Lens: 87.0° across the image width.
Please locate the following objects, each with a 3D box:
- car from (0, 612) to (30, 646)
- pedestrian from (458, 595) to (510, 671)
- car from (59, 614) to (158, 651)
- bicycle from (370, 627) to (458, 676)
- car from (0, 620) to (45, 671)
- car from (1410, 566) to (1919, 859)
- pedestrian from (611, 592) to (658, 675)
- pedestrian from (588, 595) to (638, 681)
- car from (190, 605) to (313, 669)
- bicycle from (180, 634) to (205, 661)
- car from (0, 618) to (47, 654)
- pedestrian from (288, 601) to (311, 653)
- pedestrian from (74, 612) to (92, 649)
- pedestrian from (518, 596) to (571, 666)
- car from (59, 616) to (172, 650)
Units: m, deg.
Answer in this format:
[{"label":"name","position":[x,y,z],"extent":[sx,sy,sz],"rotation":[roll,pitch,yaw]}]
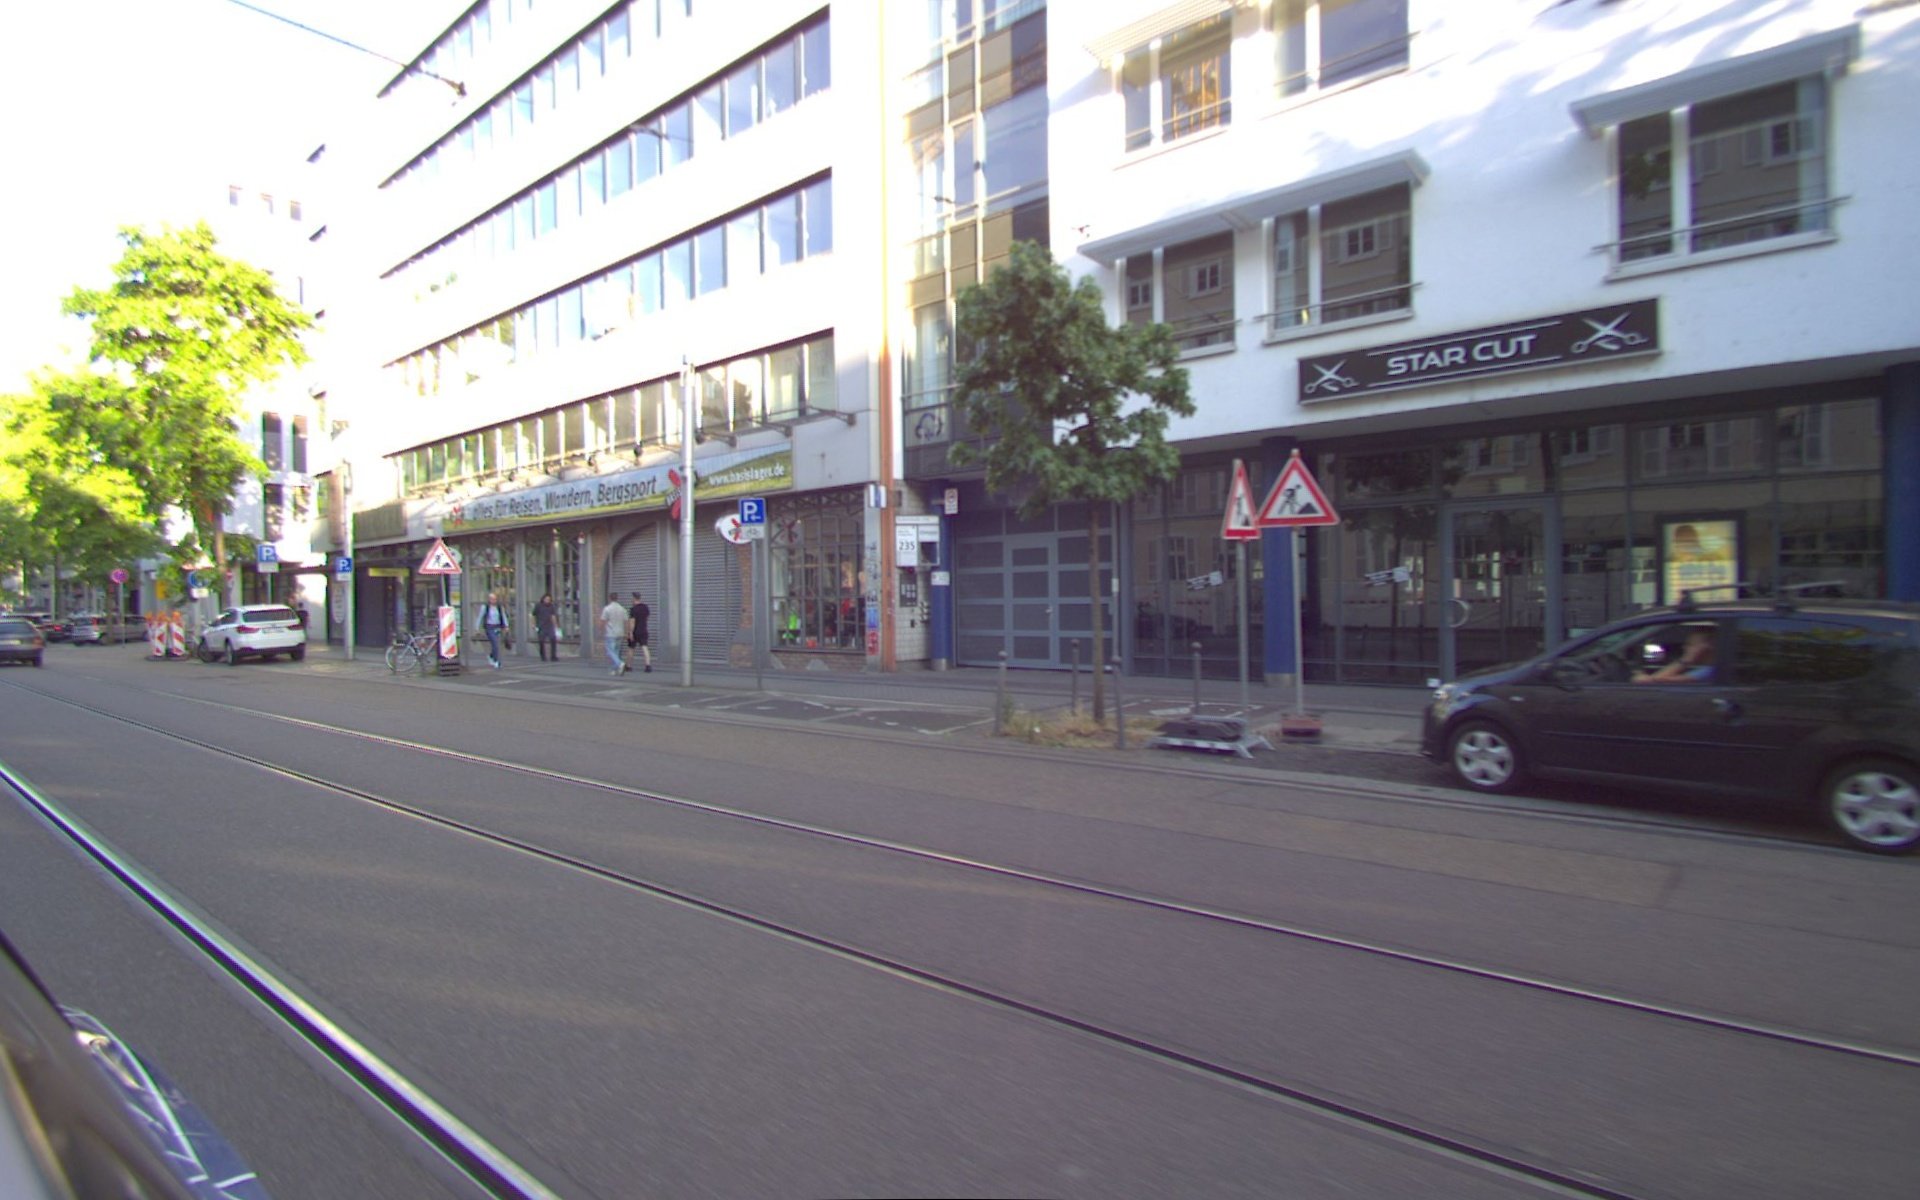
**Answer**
[{"label":"car","position":[-53.678,1.632,56.580],"extent":[4.198,1.820,2.013],"rotation":[-1,-2,41]},{"label":"pedestrian","position":[-11.329,0.770,24.099],"extent":[0.831,1.779,0.842],"rotation":[-2,-1,38]},{"label":"car","position":[-42.453,1.616,50.528],"extent":[1.771,1.571,3.389],"rotation":[-1,2,12]},{"label":"bicycle","position":[-13.082,1.225,24.276],"extent":[1.724,0.999,0.479],"rotation":[-5,2,-42]},{"label":"car","position":[-28.699,1.334,30.055],"extent":[4.526,1.418,1.760],"rotation":[-1,-1,41]},{"label":"car","position":[5.385,0.630,7.135],"extent":[1.608,1.628,3.718],"rotation":[-3,1,-34]},{"label":"pedestrian","position":[-7.022,0.711,21.821],"extent":[0.808,1.725,0.620],"rotation":[-1,1,45]},{"label":"pedestrian","position":[-7.219,0.772,21.038],"extent":[0.829,1.725,0.634],"rotation":[-1,1,45]},{"label":"car","position":[-22.062,1.116,31.443],"extent":[4.741,1.767,1.973],"rotation":[-1,1,41]},{"label":"bicycle","position":[-26.711,1.640,35.217],"extent":[0.496,0.843,1.536],"rotation":[-4,2,-43]},{"label":"car","position":[-44.911,1.693,48.006],"extent":[4.198,1.624,1.865],"rotation":[-1,-3,41]},{"label":"pedestrian","position":[-26.346,1.074,40.383],"extent":[0.592,2.029,0.608],"rotation":[-2,-1,39]},{"label":"pedestrian","position":[-46.272,1.591,53.404],"extent":[0.723,1.948,0.647],"rotation":[-2,-1,43]},{"label":"pedestrian","position":[-10.743,0.792,26.151],"extent":[1.037,1.708,0.824],"rotation":[-1,2,41]},{"label":"car","position":[-44.159,1.681,53.050],"extent":[1.568,1.423,4.286],"rotation":[-1,2,22]}]
